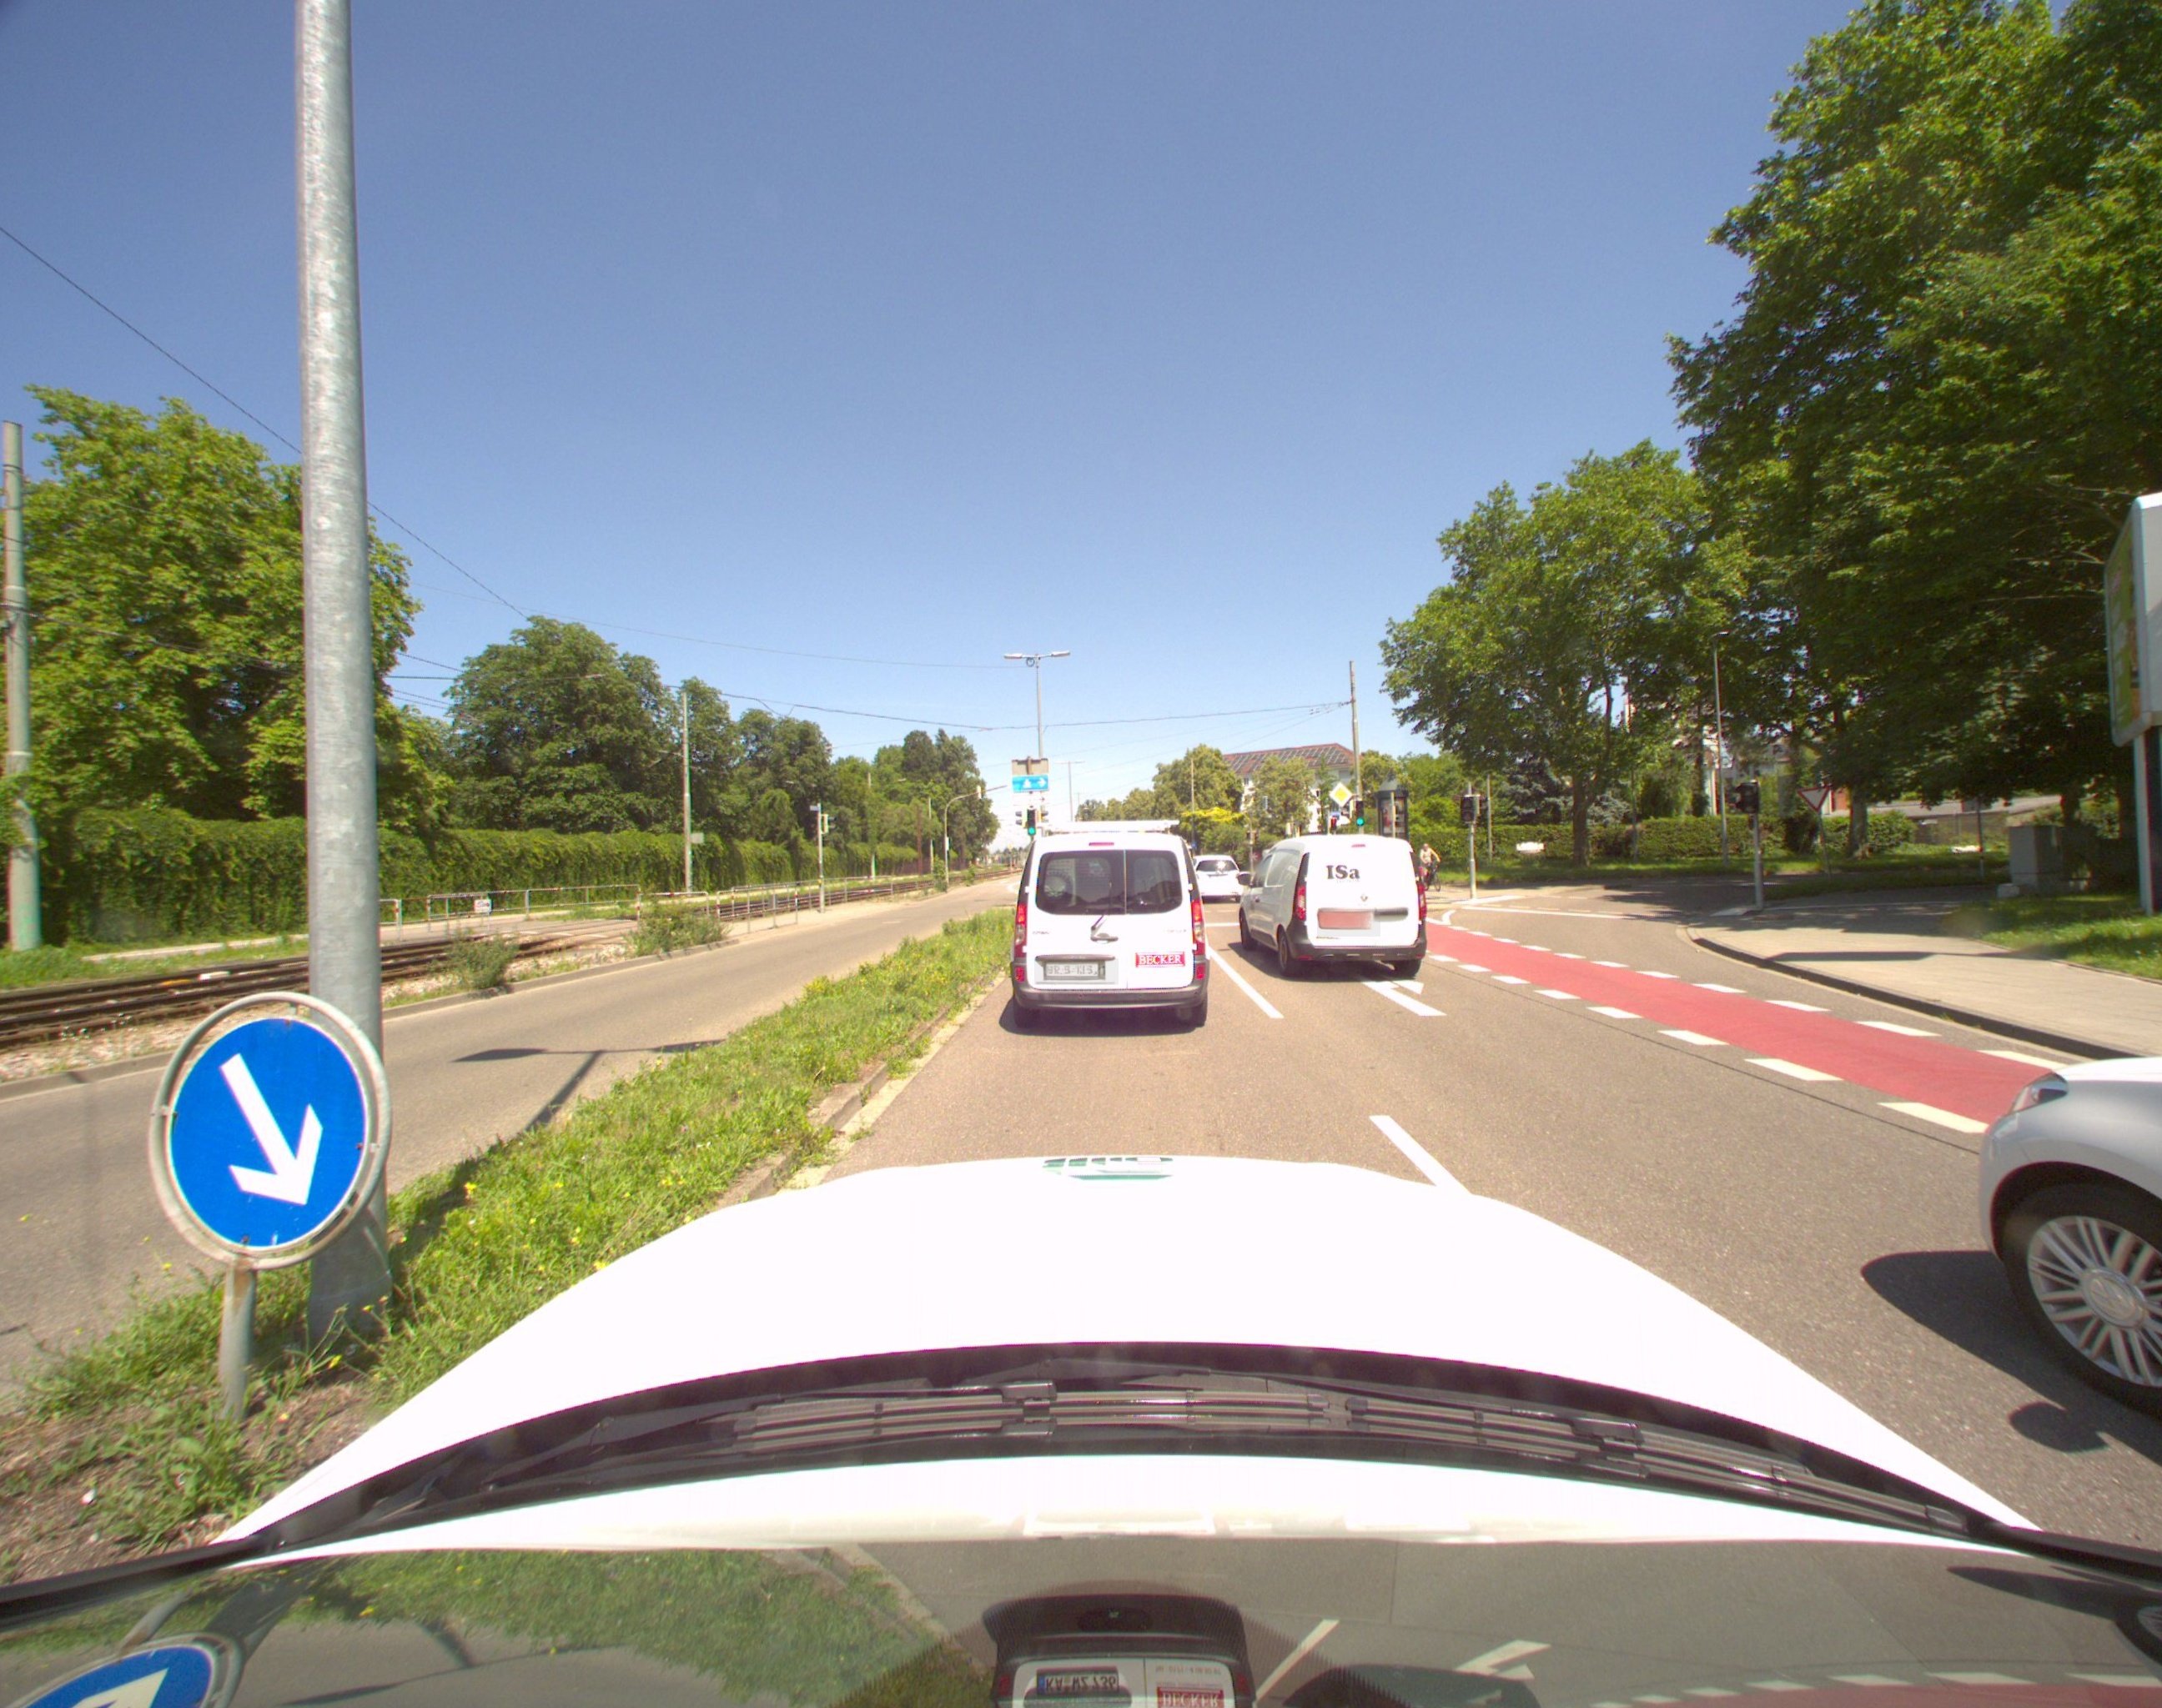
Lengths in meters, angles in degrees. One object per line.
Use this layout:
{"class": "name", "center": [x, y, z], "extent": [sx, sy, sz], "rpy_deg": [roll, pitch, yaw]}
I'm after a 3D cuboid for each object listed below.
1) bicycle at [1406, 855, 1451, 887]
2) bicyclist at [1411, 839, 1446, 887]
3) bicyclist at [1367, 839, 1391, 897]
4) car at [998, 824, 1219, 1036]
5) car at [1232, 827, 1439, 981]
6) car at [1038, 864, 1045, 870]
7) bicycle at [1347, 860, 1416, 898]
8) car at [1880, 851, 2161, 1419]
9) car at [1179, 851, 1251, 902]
{"class": "bicycle", "center": [13.141, 0.648, 30.883], "extent": [0.888, 1.159, 1.957], "rpy_deg": [-2, -1, 2]}
{"class": "bicyclist", "center": [13.171, 0.344, 30.862], "extent": [0.969, 1.788, 0.726], "rpy_deg": [-2, -1, 2]}
{"class": "bicyclist", "center": [9.263, 0.440, 25.350], "extent": [0.573, 1.788, 0.770], "rpy_deg": [0, -1, 9]}
{"class": "car", "center": [0.295, 0.644, 8.972], "extent": [1.814, 1.739, 4.398], "rpy_deg": [-1, 0, 2]}
{"class": "car", "center": [3.363, 0.603, 11.588], "extent": [1.721, 1.788, 4.064], "rpy_deg": [0, -1, 1]}
{"class": "car", "center": [-10.833, 3.657, 221.955], "extent": [1.694, 1.512, 4.061], "rpy_deg": [-2, 0, -3]}
{"class": "bicycle", "center": [9.323, 0.776, 25.344], "extent": [1.855, 1.125, 0.897], "rpy_deg": [-1, -1, 9]}
{"class": "car", "center": [3.525, 0.722, 1.107], "extent": [1.603, 1.447, 3.438], "rpy_deg": [0, 0, 2]}
{"class": "car", "center": [4.334, 0.678, 26.890], "extent": [1.828, 1.568, 4.002], "rpy_deg": [0, 0, 2]}
